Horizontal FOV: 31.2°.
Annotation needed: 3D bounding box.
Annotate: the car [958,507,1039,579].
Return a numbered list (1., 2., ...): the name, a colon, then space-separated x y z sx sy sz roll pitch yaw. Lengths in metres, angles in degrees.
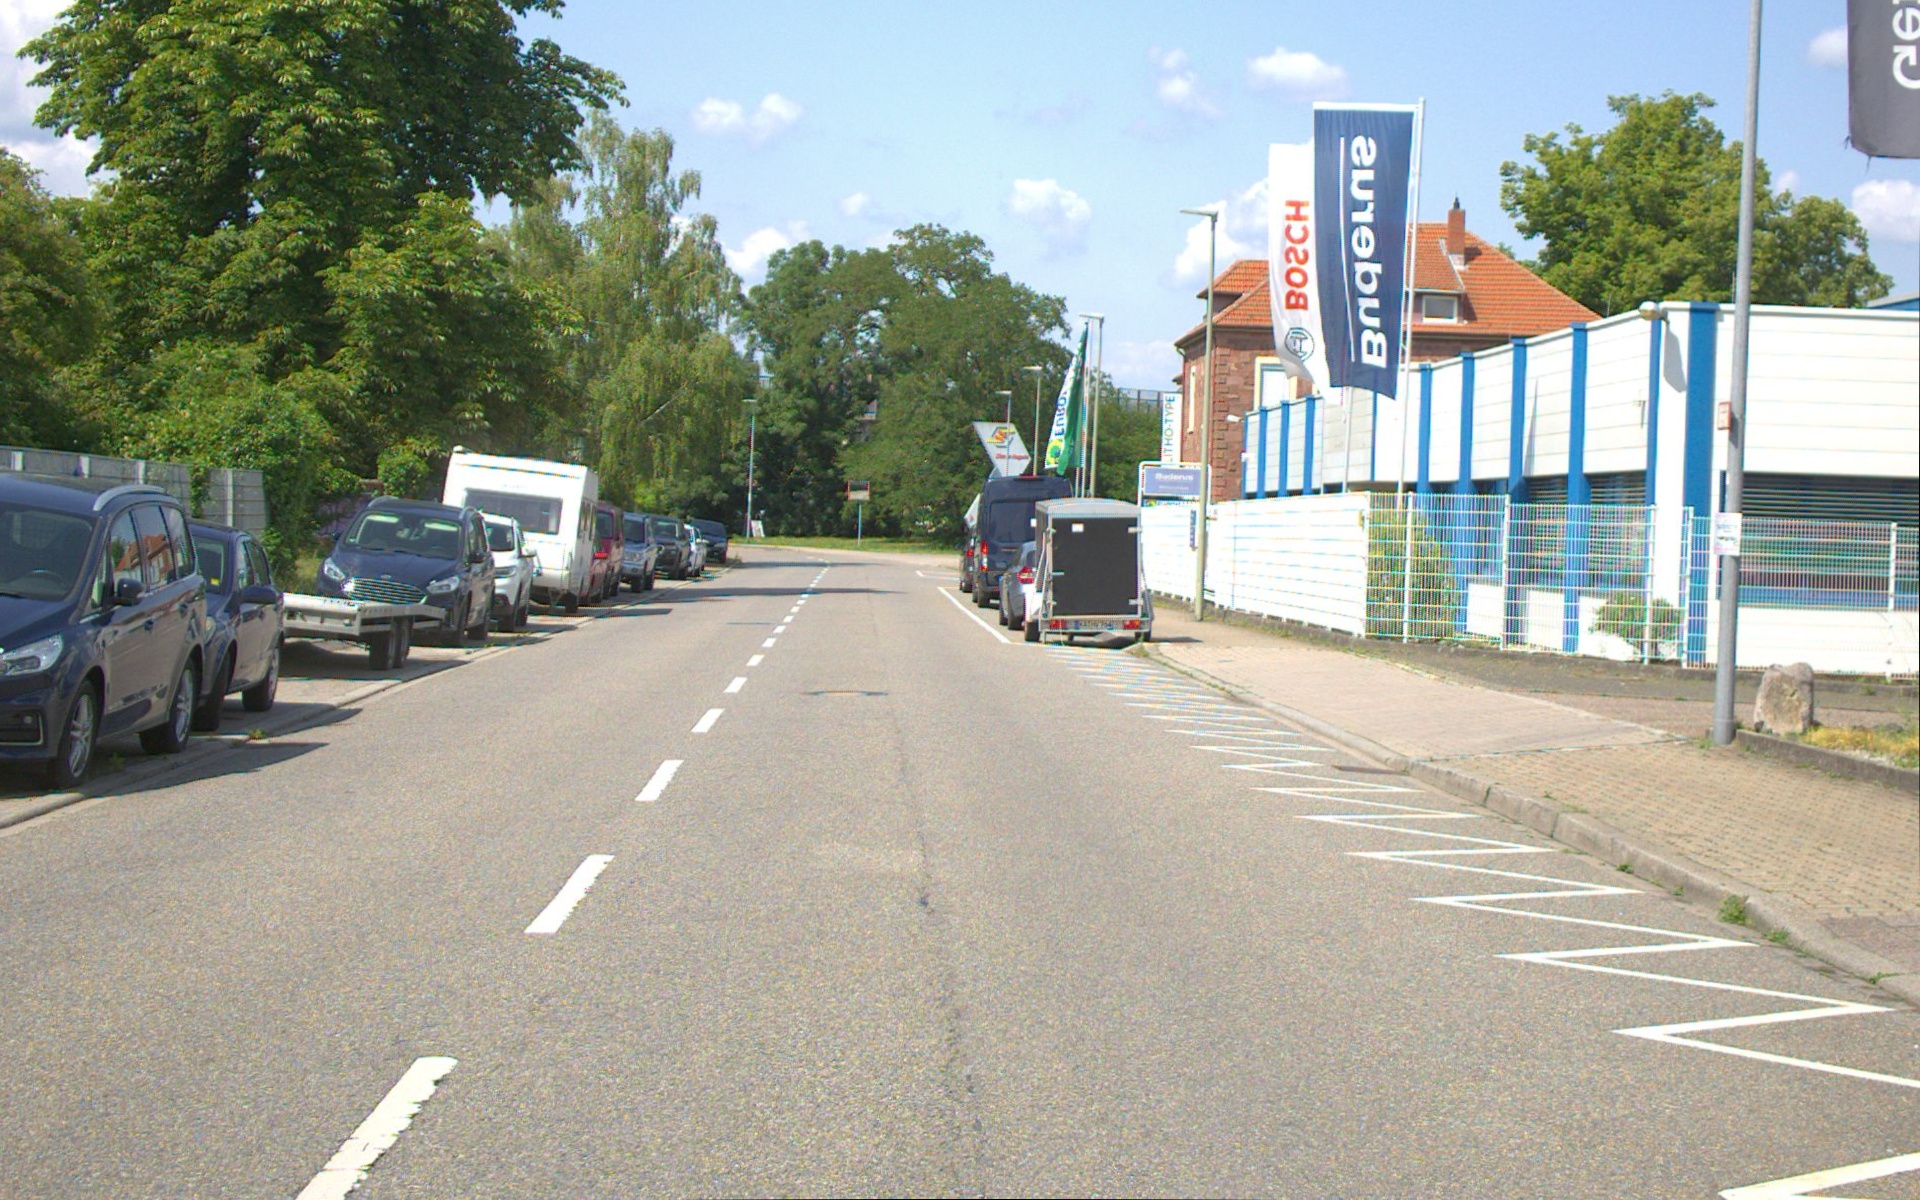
1. car: 0.922 -1.430 84.523 1.825 1.659 4.556 2 1 -1

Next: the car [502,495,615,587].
1. car: -7.607 -1.138 65.474 1.625 1.527 4.269 6 1 -2

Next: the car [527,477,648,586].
1. car: -7.743 -1.430 71.801 1.898 1.947 4.959 8 1 -2

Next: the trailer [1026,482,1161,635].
1. trailer: 1.865 -0.599 48.708 1.601 2.030 2.741 3 1 -2

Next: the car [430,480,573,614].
1. car: -6.651 -0.802 50.192 1.683 1.686 4.446 6 1 -5

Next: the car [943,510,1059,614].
1. car: 0.621 -0.634 54.791 1.572 1.502 4.133 3 1 -2

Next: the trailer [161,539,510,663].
1. trailer: -6.278 -0.057 35.570 2.271 0.880 7.132 7 1 0

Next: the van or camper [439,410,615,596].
1. van or camper: -7.375 -1.657 59.210 2.262 2.794 6.835 6 1 -3

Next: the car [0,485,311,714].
1. car: -5.996 -0.055 25.925 1.577 1.507 4.202 3 1 -4

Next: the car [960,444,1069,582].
1. car: 1.100 -1.850 72.276 1.937 2.739 6.155 1 2 -2

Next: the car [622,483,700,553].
1. car: -8.074 -2.238 93.099 1.610 1.739 4.636 4 2 0

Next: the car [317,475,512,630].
1. car: -6.846 -0.631 43.558 1.827 1.787 4.736 2 1 -2

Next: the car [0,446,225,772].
1. car: -5.798 -0.037 20.804 1.801 1.743 4.714 2 1 -2
